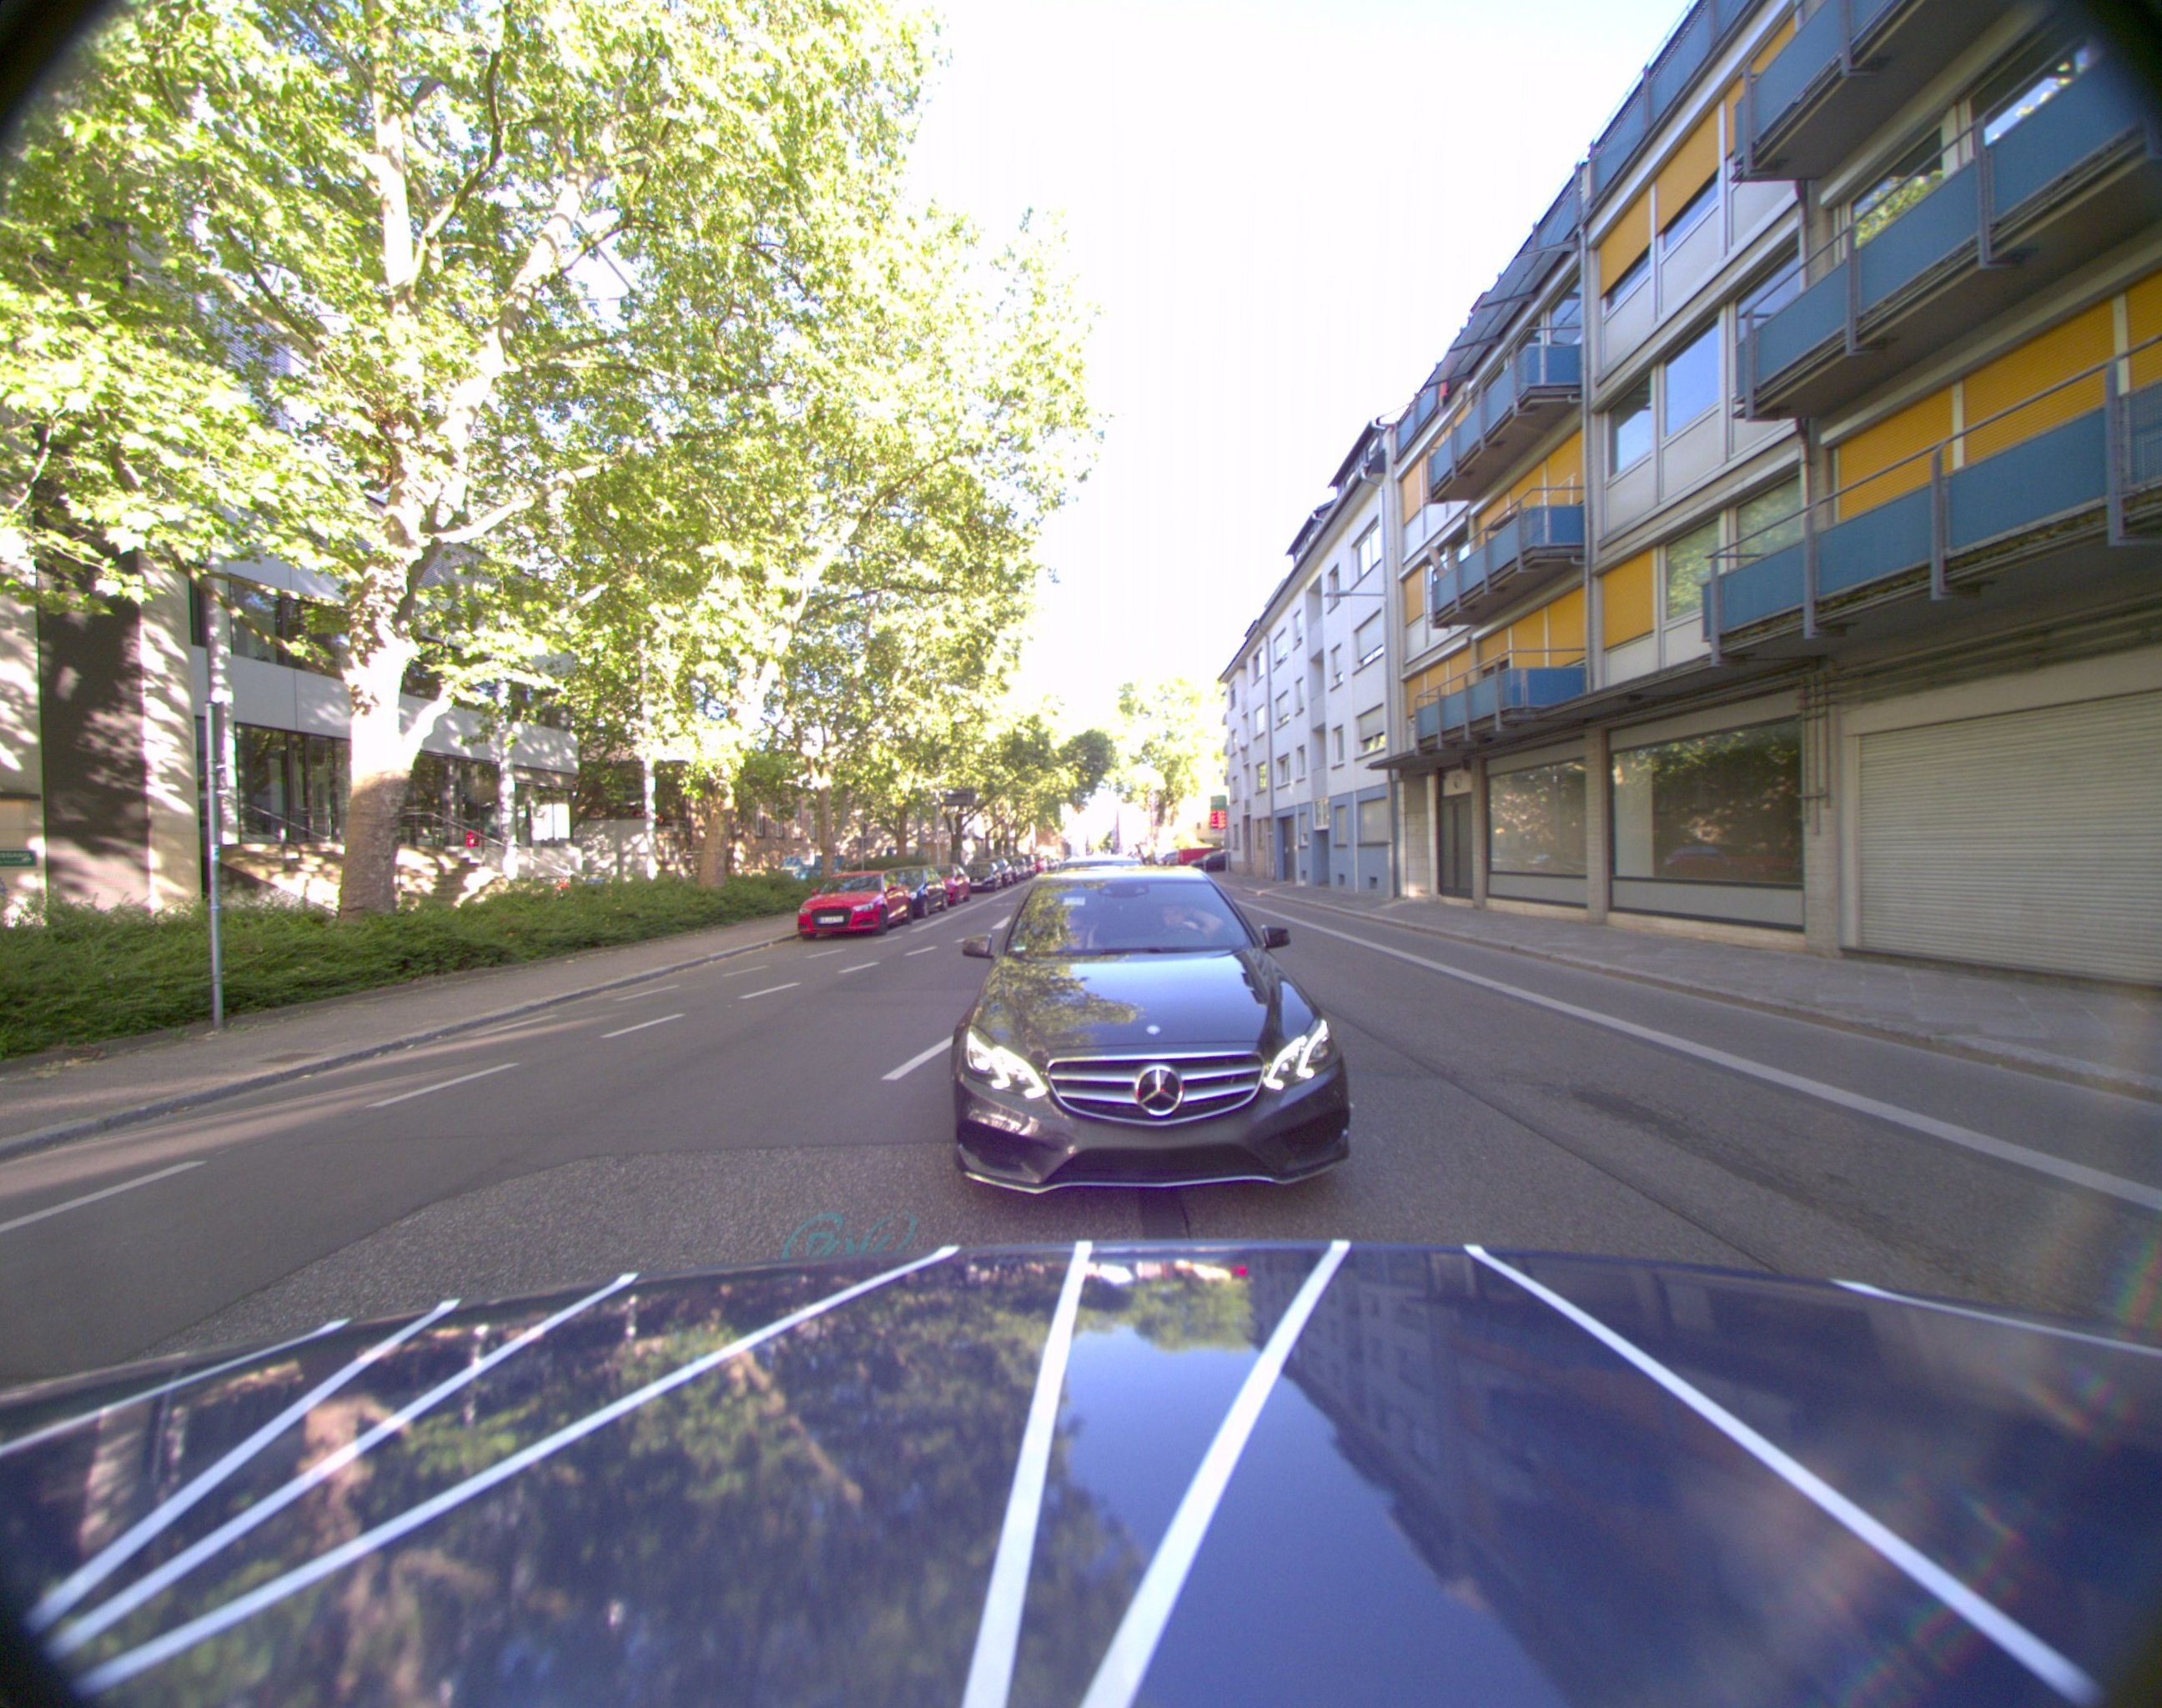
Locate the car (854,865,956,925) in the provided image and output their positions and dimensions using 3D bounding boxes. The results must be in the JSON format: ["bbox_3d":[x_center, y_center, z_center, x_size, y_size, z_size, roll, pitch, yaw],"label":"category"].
[{"bbox_3d":[-5.041,1.125,22.378,1.866,1.442,4.481,-2,0,1],"label":"car"}]

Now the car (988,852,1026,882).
[{"bbox_3d":[-4.629,0.786,48.130,1.866,1.749,4.481,-2,0,1],"label":"car"}]

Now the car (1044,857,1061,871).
[{"bbox_3d":[-3.650,1.240,96.780,1.866,1.632,4.481,-2,0,1],"label":"car"}]

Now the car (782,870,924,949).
[{"bbox_3d":[-5.101,1.179,17.727,1.866,1.442,4.481,-2,0,1],"label":"car"}]

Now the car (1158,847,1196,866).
[{"bbox_3d":[10.740,0.245,84.975,3.996,1.936,2.000,-2,1,2],"label":"car"}]

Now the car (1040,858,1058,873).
[{"bbox_3d":[-3.760,1.324,89.981,1.866,1.632,4.481,-2,0,1],"label":"car"}]

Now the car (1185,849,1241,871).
[{"bbox_3d":[10.178,0.427,58.866,3.996,1.543,2.000,-2,1,2],"label":"car"}]

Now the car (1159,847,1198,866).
[{"bbox_3d":[10.595,0.279,82.481,3.996,1.936,2.000,-2,1,2],"label":"car"}]

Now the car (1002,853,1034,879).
[{"bbox_3d":[-4.499,0.821,54.796,1.866,1.749,4.481,-2,0,1],"label":"car"}]

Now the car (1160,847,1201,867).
[{"bbox_3d":[10.465,0.311,79.993,3.996,1.936,2.000,-2,1,2],"label":"car"}]

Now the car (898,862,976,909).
[{"bbox_3d":[-5.085,1.067,27.421,1.866,1.442,4.481,-2,0,1],"label":"car"}]

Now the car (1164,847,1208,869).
[{"bbox_3d":[10.252,0.381,74.501,3.996,1.936,2.000,-2,1,2],"label":"car"}]

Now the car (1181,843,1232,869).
[{"bbox_3d":[10.552,0.158,64.020,3.996,1.936,2.000,-2,1,2],"label":"car"}]

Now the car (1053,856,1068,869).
[{"bbox_3d":[-2.818,1.115,105.187,1.866,1.632,4.481,-2,0,1],"label":"car"}]

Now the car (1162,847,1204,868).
[{"bbox_3d":[10.336,0.348,77.142,3.996,1.936,2.000,-2,1,2],"label":"car"}]

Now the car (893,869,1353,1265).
[{"bbox_3d":[0.207,0.934,5.403,1.866,1.492,4.481,-2,0,1],"label":"car"}]

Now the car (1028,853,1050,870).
[{"bbox_3d":[-4.194,0.707,76.274,1.866,1.632,4.481,-2,0,1],"label":"car"}]

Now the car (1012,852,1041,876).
[{"bbox_3d":[-4.242,0.758,59.752,1.866,1.749,4.481,-2,0,1],"label":"car"}]

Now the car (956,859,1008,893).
[{"bbox_3d":[-4.753,1.026,37.168,1.866,1.442,4.481,-2,0,1],"label":"car"}]

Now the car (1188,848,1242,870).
[{"bbox_3d":[10.719,0.380,61.189,3.996,1.543,2.000,-2,1,2],"label":"car"}]

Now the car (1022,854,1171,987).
[{"bbox_3d":[0.227,0.859,11.926,1.866,1.630,4.303,-2,0,1],"label":"car"}]

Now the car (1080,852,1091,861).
[{"bbox_3d":[0.857,0.416,140.500,1.866,1.632,4.481,-2,0,1],"label":"car"}]

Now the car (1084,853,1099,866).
[{"bbox_3d":[1.350,0.747,100.153,1.866,1.632,4.481,-2,0,1],"label":"car"}]

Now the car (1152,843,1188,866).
[{"bbox_3d":[10.494,0.007,89.503,3.996,2.505,2.000,-2,1,2],"label":"car"}]

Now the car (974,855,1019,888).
[{"bbox_3d":[-4.618,0.909,42.203,1.866,1.658,4.481,-2,0,1],"label":"car"}]
